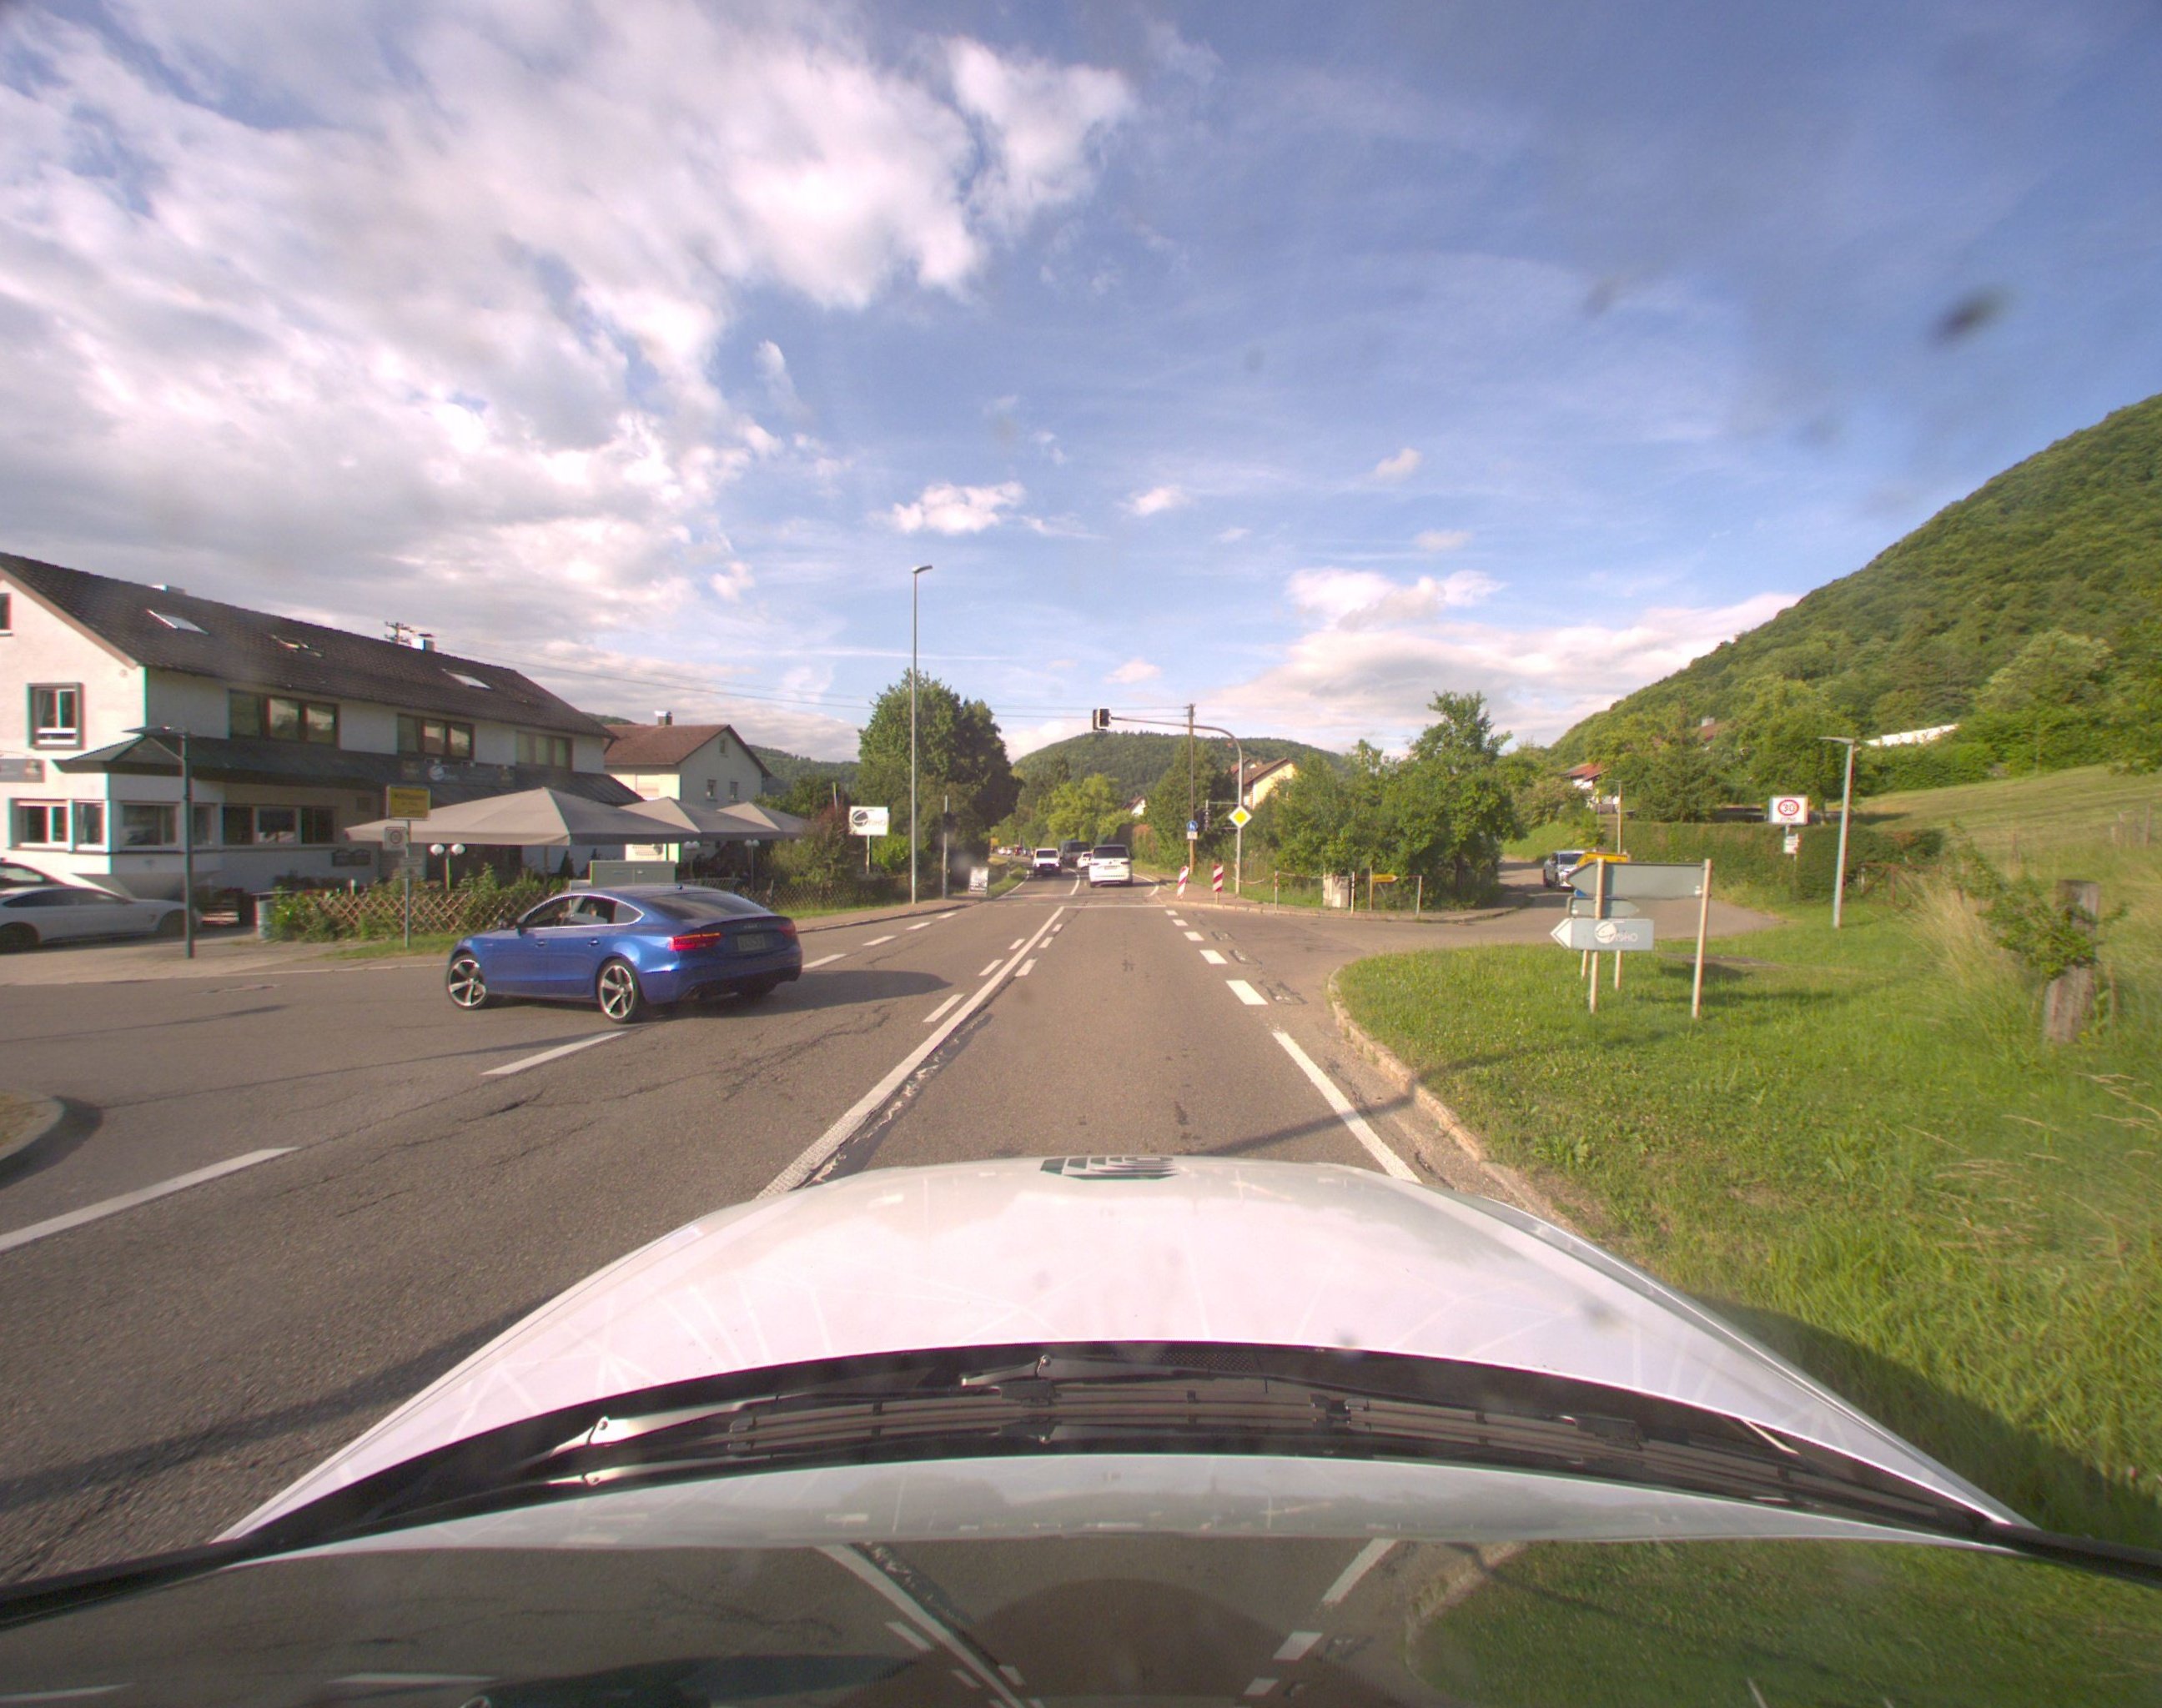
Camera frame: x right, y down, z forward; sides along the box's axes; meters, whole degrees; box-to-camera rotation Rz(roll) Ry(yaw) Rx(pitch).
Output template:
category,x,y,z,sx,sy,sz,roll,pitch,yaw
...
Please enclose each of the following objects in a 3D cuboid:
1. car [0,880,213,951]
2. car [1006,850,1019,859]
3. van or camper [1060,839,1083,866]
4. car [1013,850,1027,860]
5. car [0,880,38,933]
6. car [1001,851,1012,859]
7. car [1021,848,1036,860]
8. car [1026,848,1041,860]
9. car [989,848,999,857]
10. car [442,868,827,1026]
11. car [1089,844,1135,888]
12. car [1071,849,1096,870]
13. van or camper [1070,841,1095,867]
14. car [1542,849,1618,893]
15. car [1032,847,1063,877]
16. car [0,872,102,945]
category,x,y,z,sx,sy,sz,roll,pitch,yaw
car,-23.888,1.399,19.051,1.983,1.389,4.585,-2,0,7
car,-12.971,0.141,154.132,1.943,1.684,3.985,-2,0,-11
van or camper,-1.119,-0.147,92.541,2.409,2.904,6.127,-1,0,-2
car,-10.921,0.159,145.694,2.042,1.684,3.985,0,1,-11
car,-29.615,1.420,19.958,1.983,1.389,4.585,-2,0,7
car,-14.961,0.182,163.280,1.943,1.424,3.985,-1,0,-11
car,-8.905,0.046,136.973,1.995,2.013,3.984,-1,0,-12
car,-7.453,-0.036,128.447,1.797,1.794,3.985,-1,0,-11
car,-18.938,-0.342,177.835,1.773,1.783,3.984,-1,0,-11
car,-5.149,0.927,9.321,4.173,1.409,1.847,-2,0,28
car,1.502,0.501,38.017,1.985,1.876,4.876,1,1,4
car,0.179,0.410,67.572,1.988,1.684,3.997,-1,0,-2
van or camper,0.106,0.015,77.836,2.174,2.385,5.365,-1,0,-2
car,20.195,0.638,33.136,1.851,1.610,4.596,0,1,21
car,-2.295,0.482,55.990,1.988,1.904,5.249,-2,0,-2
car,-26.594,1.332,18.886,1.983,1.685,4.585,-2,0,7
